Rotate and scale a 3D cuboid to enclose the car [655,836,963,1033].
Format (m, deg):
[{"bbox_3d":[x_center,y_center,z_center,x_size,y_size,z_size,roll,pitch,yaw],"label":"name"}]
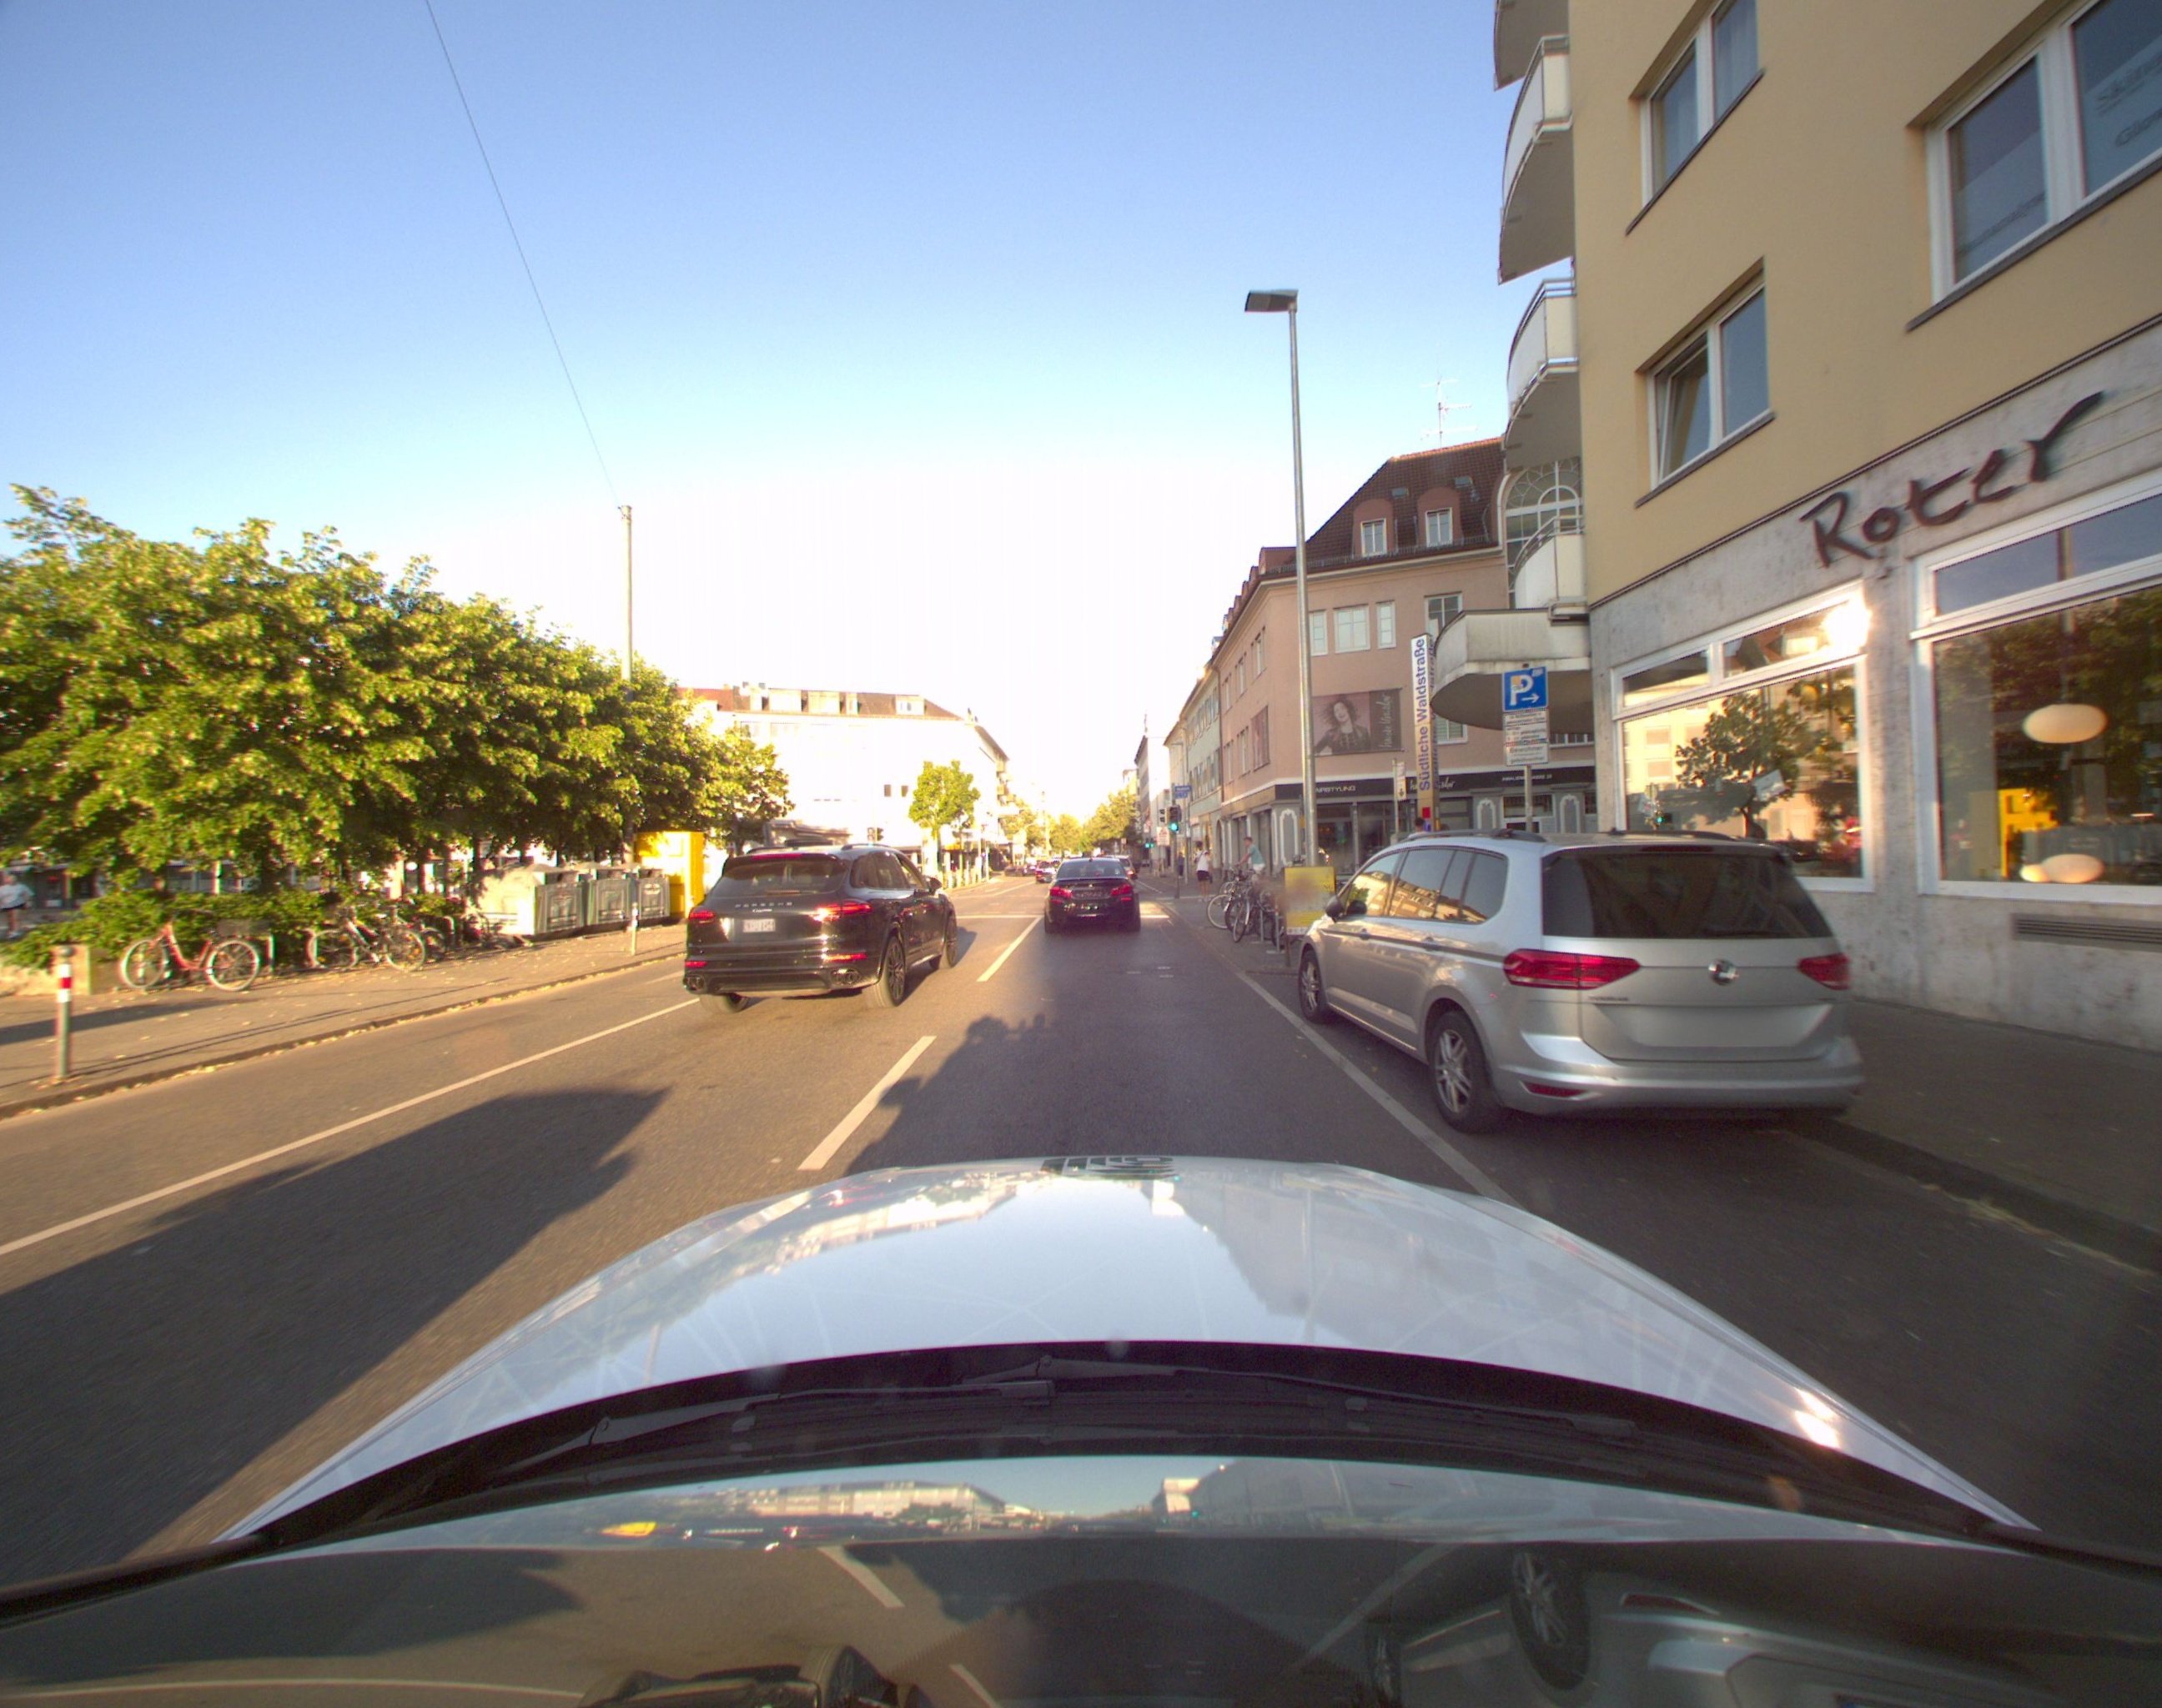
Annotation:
[{"bbox_3d":[-2.788,0.727,9.639,1.941,1.714,4.563,-2,0,2],"label":"car"}]

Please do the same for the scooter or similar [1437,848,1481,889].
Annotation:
[{"bbox_3d":[11.790,0.449,25.407,1.189,1.260,0.366,-2,0,26],"label":"scooter or similar"}]

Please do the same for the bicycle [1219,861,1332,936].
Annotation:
[{"bbox_3d":[3.384,0.760,14.221,1.782,1.173,0.620,-3,0,-10],"label":"bicycle"}]

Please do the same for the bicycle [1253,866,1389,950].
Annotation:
[{"bbox_3d":[3.602,0.796,12.266,1.844,1.123,0.592,-3,-1,-10],"label":"bicycle"}]

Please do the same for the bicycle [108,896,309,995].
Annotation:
[{"bbox_3d":[-11.694,1.212,10.952,2.020,1.252,0.548,0,0,-3],"label":"bicycle"}]

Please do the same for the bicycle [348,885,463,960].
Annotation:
[{"bbox_3d":[-11.669,1.168,14.088,1.581,1.252,0.445,0,0,-1],"label":"bicycle"}]

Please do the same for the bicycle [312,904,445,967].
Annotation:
[{"bbox_3d":[-11.584,1.331,13.461,1.669,0.979,0.548,0,0,-3],"label":"bicycle"}]

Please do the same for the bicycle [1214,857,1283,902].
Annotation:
[{"bbox_3d":[4.678,0.704,22.802,1.808,1.186,0.796,-2,0,10],"label":"bicycle"}]

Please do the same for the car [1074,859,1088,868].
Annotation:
[{"bbox_3d":[-0.001,1.359,117.292,1.731,1.293,3.993,-1,0,-5],"label":"car"}]

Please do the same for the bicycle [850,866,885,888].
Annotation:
[{"bbox_3d":[-12.519,1.339,47.755,1.846,1.256,0.633,-2,-1,2],"label":"bicycle"}]

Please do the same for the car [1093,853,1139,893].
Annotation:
[{"bbox_3d":[1.506,0.772,35.146,1.825,1.576,4.103,-1,0,2],"label":"car"}]

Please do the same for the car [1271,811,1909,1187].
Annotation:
[{"bbox_3d":[2.800,0.634,5.939,1.692,1.616,4.681,-1,0,0],"label":"car"}]

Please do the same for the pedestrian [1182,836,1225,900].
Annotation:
[{"bbox_3d":[3.763,0.428,25.059,0.942,1.897,0.819,-1,-1,-24],"label":"pedestrian"}]

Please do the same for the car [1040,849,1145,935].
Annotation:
[{"bbox_3d":[0.214,0.702,17.212,1.897,1.540,4.449,-1,0,0],"label":"car"}]

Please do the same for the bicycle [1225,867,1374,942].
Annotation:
[{"bbox_3d":[3.536,0.801,13.267,2.166,1.075,0.804,-3,0,-6],"label":"bicycle"}]

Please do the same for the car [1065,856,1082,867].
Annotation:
[{"bbox_3d":[-1.078,1.062,110.533,1.990,1.442,3.993,-1,0,-5],"label":"car"}]

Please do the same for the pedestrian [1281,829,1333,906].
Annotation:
[{"bbox_3d":[5.003,0.296,17.996,0.782,1.653,0.785,-2,-1,44],"label":"pedestrian"}]

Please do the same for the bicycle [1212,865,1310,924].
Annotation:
[{"bbox_3d":[3.641,0.811,16.535,1.782,1.063,0.716,-3,0,-10],"label":"bicycle"}]

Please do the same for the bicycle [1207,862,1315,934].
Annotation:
[{"bbox_3d":[3.267,0.777,14.855,1.782,1.173,0.620,-3,0,-10],"label":"bicycle"}]

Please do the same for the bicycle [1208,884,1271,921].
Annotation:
[{"bbox_3d":[3.326,1.009,17.177,1.004,0.681,1.047,-2,0,-8],"label":"bicycle"}]

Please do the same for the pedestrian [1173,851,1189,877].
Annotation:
[{"bbox_3d":[6.383,0.625,52.050,0.821,1.642,0.871,-2,-1,-1],"label":"pedestrian"}]

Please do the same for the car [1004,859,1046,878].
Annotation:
[{"bbox_3d":[-4.917,1.254,70.920,2.007,1.486,3.959,-1,0,-32],"label":"car"}]

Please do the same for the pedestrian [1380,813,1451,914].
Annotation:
[{"bbox_3d":[6.256,0.174,15.281,0.825,1.817,0.866,-2,-1,-18],"label":"pedestrian"}]

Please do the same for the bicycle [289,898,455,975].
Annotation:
[{"bbox_3d":[-10.960,1.264,12.631,2.020,1.134,0.548,0,0,-3],"label":"bicycle"}]

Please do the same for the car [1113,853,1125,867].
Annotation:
[{"bbox_3d":[5.245,0.810,113.700,1.417,1.855,3.050,0,-1,-2],"label":"car"}]

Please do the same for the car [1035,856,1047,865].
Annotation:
[{"bbox_3d":[-6.487,1.044,132.081,1.731,1.461,3.993,-1,0,-5],"label":"car"}]

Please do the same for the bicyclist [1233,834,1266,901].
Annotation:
[{"bbox_3d":[4.702,0.377,22.802,0.828,1.826,0.833,-2,0,9],"label":"bicyclist"}]

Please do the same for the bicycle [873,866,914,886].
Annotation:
[{"bbox_3d":[-12.335,1.431,53.599,2.434,1.256,0.788,-2,0,2],"label":"bicycle"}]

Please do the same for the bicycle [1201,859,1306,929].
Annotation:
[{"bbox_3d":[3.286,0.745,15.602,1.840,1.239,0.638,-2,0,-5],"label":"bicycle"}]

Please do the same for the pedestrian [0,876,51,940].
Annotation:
[{"bbox_3d":[-27.435,1.385,21.141,0.696,1.621,0.846,-1,-1,39],"label":"pedestrian"}]

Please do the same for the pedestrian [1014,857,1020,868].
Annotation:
[{"bbox_3d":[-9.551,1.222,121.079,0.820,1.676,0.871,-1,0,0],"label":"pedestrian"}]

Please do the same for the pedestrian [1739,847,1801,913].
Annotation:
[{"bbox_3d":[12.666,0.471,14.990,0.630,1.185,0.709,-1,0,18],"label":"pedestrian"}]

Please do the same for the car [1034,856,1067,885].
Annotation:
[{"bbox_3d":[-1.829,0.974,49.739,1.867,1.595,4.448,-1,0,-1],"label":"car"}]
